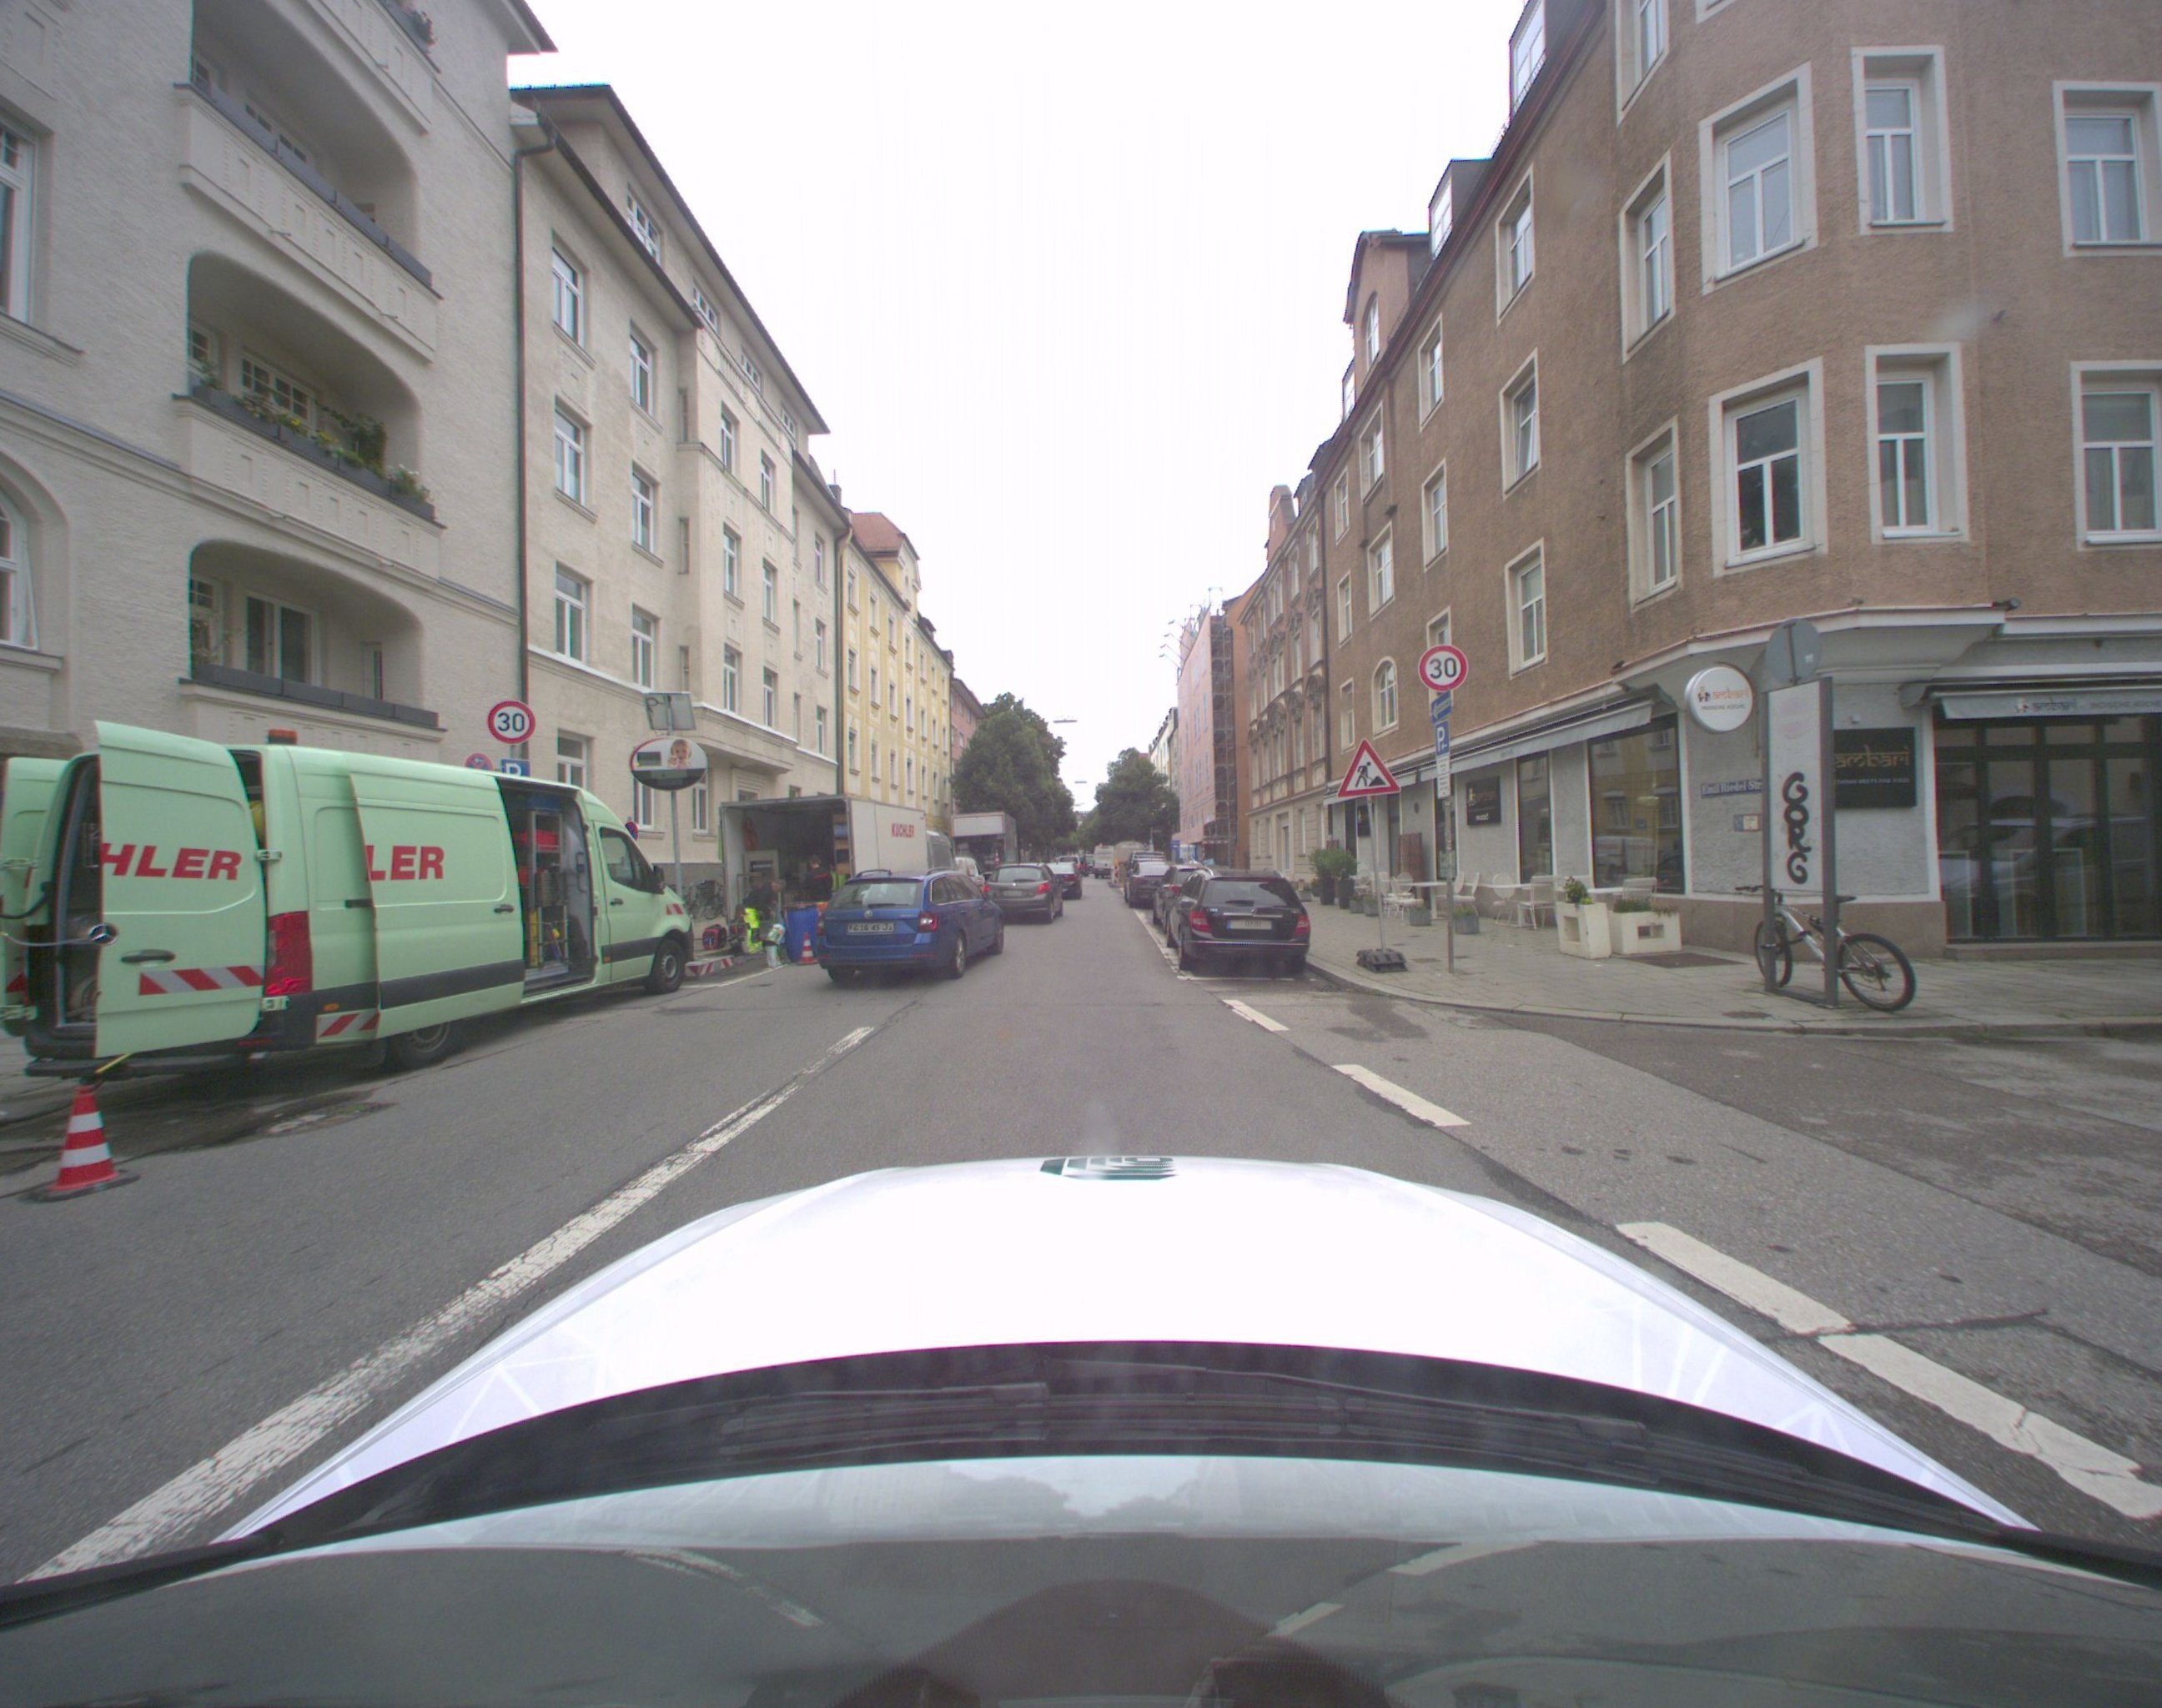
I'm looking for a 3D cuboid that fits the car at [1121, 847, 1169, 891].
[{"bbox_3d":[3.001,0.792,39.255,2.074,1.921,5.142,0,-3,2],"label":"car"}]

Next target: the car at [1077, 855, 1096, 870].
[{"bbox_3d":[0.579,0.889,87.493,2.001,1.653,4.347,0,0,0],"label":"car"}]

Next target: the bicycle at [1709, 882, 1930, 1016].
[{"bbox_3d":[6.807,0.818,7.639,0.493,1.005,1.805,-3,0,4],"label":"bicycle"}]

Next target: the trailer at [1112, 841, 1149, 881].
[{"bbox_3d":[3.678,0.552,61.427,2.493,2.840,6.902,0,-1,1],"label":"trailer"}]

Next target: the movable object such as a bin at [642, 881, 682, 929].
[{"bbox_3d":[-10.325,1.249,20.077,0.669,1.129,0.555,-2,-1,4],"label":"movable object such as a bin"}]

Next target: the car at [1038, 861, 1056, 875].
[{"bbox_3d":[-3.543,1.440,85.884,1.807,1.478,3.998,0,0,-1],"label":"car"}]

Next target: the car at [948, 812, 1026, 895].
[{"bbox_3d":[-4.684,0.037,42.371,2.803,3.818,8.723,-1,-1,1],"label":"car"}]

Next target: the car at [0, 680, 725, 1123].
[{"bbox_3d":[-6.237,0.305,8.168,2.133,2.572,6.797,-1,0,2],"label":"car"}]

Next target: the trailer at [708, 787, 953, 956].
[{"bbox_3d":[-5.320,0.319,19.098,2.792,2.969,7.606,-4,0,3],"label":"trailer"}]

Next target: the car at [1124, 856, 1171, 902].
[{"bbox_3d":[2.647,0.994,33.171,1.687,1.676,4.409,2,-1,2],"label":"car"}]

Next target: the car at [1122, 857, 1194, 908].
[{"bbox_3d":[2.511,0.907,27.850,1.924,1.553,5.636,-1,0,0],"label":"car"}]

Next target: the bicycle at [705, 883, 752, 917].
[{"bbox_3d":[-10.443,1.348,24.176,0.413,0.914,1.759,2,-1,6],"label":"bicycle"}]

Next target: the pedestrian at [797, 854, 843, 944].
[{"bbox_3d":[-4.893,0.827,15.275,0.763,1.631,0.633,-1,-1,-19],"label":"pedestrian"}]

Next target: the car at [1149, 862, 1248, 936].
[{"bbox_3d":[2.477,0.913,18.066,1.567,1.394,4.182,-2,-1,0],"label":"car"}]

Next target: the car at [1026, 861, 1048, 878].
[{"bbox_3d":[-4.052,1.385,75.153,1.807,1.478,3.998,0,0,-1],"label":"car"}]

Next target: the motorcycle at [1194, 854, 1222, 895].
[{"bbox_3d":[4.918,0.779,31.636,0.868,1.505,1.998,-1,-1,3],"label":"motorcycle"}]

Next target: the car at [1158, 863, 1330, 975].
[{"bbox_3d":[2.313,0.858,12.850,1.840,1.405,4.789,-1,-1,1],"label":"car"}]

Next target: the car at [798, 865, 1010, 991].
[{"bbox_3d":[-2.320,0.922,11.909,1.780,1.460,4.320,-2,-1,5],"label":"car"}]

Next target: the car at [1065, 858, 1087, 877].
[{"bbox_3d":[-0.413,1.210,73.338,1.861,1.653,4.348,0,0,1],"label":"car"}]

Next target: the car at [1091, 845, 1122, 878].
[{"bbox_3d":[2.175,0.673,68.525,2.101,2.664,5.510,0,-1,7],"label":"car"}]

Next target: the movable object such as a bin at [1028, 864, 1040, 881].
[{"bbox_3d":[-3.852,1.512,67.331,0.916,1.376,1.078,-3,0,-3],"label":"movable object such as a bin"}]

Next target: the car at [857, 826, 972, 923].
[{"bbox_3d":[-5.193,0.614,26.594,2.049,2.587,6.877,-5,-1,1],"label":"car"}]

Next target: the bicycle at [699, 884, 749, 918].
[{"bbox_3d":[-10.195,1.334,23.308,0.392,0.914,1.594,2,-1,13],"label":"bicycle"}]

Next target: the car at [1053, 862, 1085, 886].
[{"bbox_3d":[-0.696,1.186,50.223,1.861,1.348,4.348,0,0,1],"label":"car"}]

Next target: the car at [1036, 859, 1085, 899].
[{"bbox_3d":[-0.759,0.958,32.967,1.861,1.454,4.347,0,0,0],"label":"car"}]

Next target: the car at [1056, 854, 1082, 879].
[{"bbox_3d":[-0.876,0.951,63.322,1.861,1.870,4.348,0,0,1],"label":"car"}]

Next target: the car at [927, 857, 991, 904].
[{"bbox_3d":[-5.018,1.055,34.011,1.756,1.779,4.328,-3,-1,2],"label":"car"}]

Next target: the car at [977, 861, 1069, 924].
[{"bbox_3d":[-1.362,0.911,20.586,1.733,1.422,3.669,-1,-1,5],"label":"car"}]

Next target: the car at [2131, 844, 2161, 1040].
[{"bbox_3d":[10.092,0.608,5.344,3.858,1.488,1.893,-2,-1,1],"label":"car"}]
